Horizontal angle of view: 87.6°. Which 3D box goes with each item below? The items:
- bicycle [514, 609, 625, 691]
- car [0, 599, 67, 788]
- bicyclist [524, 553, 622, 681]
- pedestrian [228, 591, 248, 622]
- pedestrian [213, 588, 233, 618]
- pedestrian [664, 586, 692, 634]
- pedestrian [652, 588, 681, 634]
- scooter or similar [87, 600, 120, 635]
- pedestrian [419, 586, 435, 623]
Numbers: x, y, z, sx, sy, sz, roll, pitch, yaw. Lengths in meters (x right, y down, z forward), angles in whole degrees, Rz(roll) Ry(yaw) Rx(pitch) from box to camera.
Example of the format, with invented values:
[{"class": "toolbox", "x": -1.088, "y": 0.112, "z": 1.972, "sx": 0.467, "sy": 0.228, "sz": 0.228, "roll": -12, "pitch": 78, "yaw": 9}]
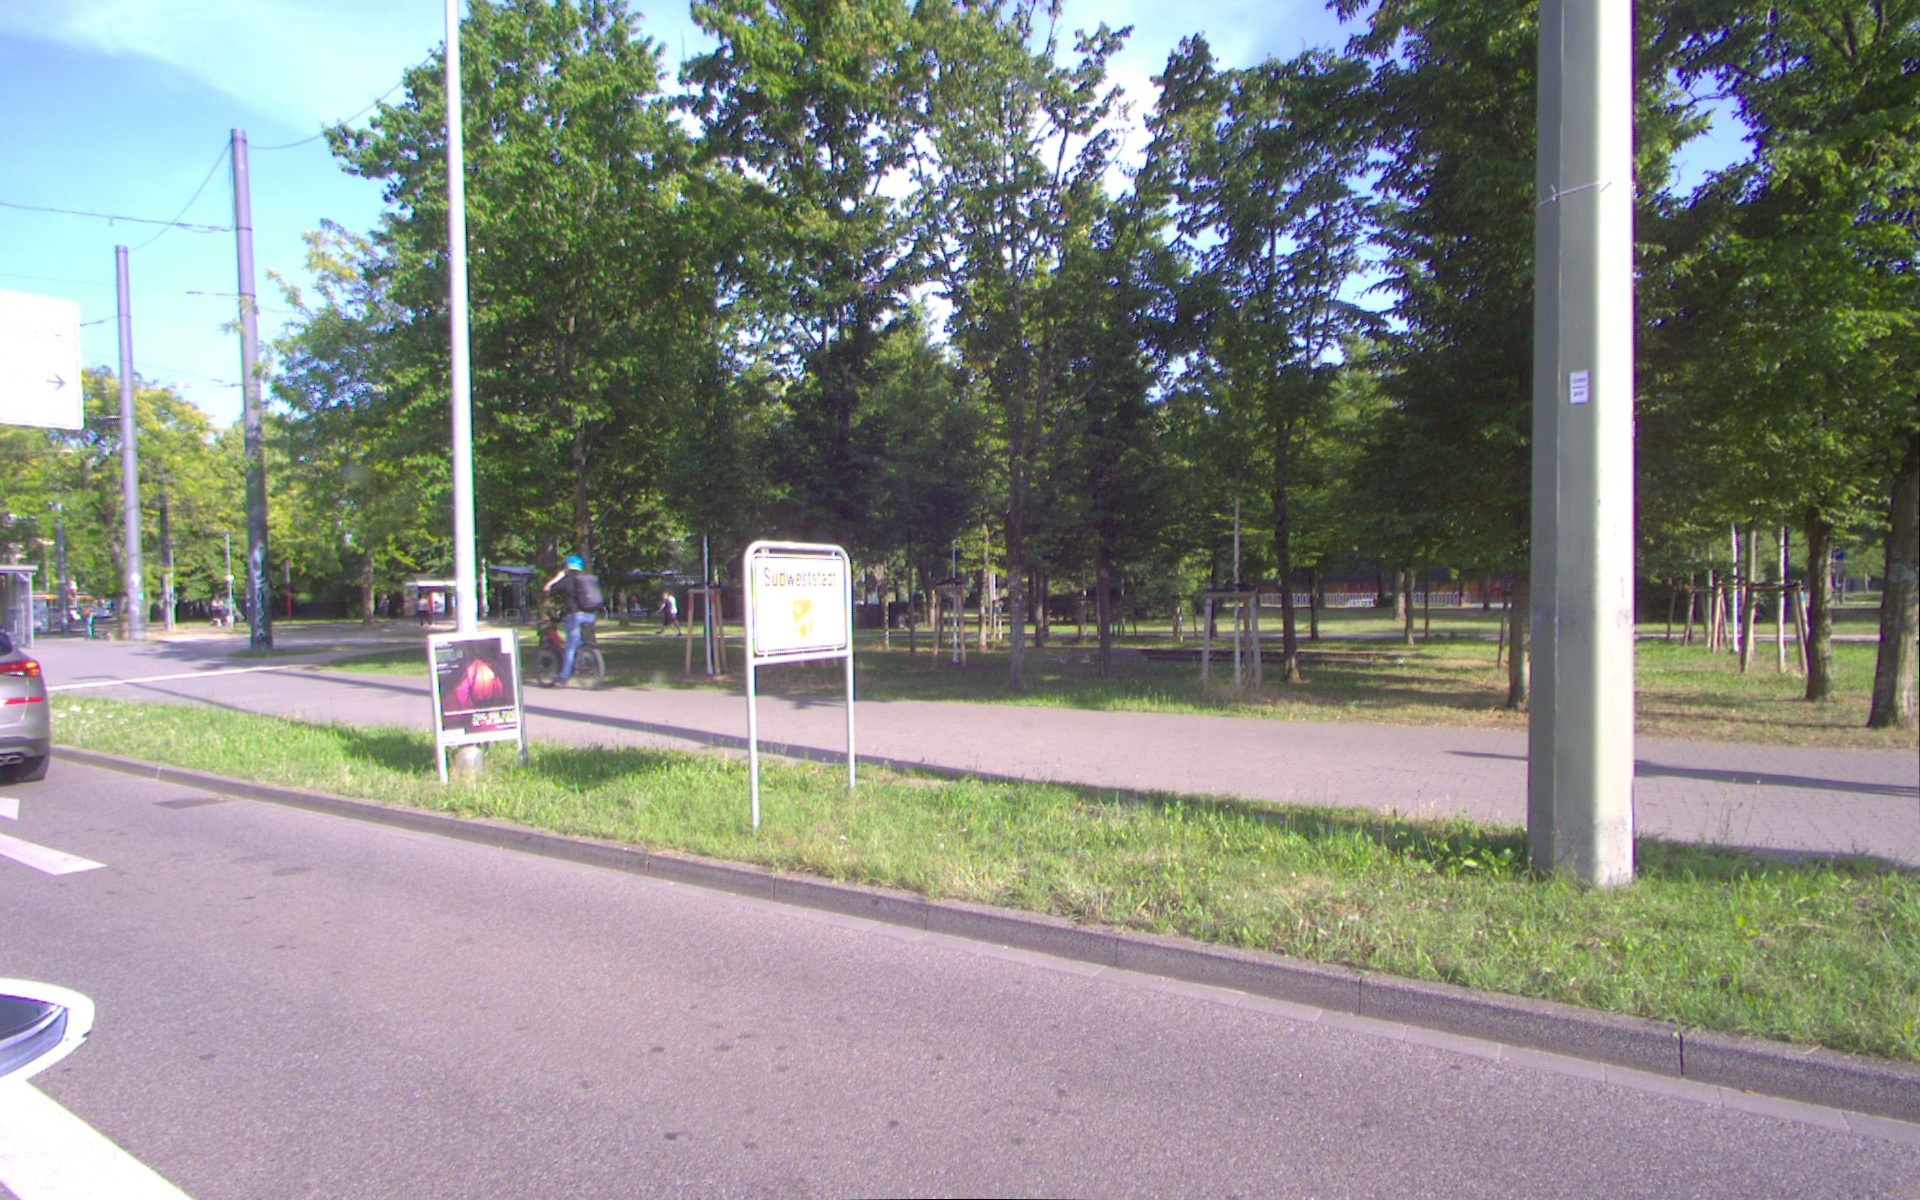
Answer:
[{"class": "bicycle", "x": -5.699, "y": 0.699, "z": 14.568, "sx": 1.711, "sy": 1.103, "sz": 0.638, "roll": 0, "pitch": 3, "yaw": 36}, {"class": "car", "x": -10.059, "y": 0.808, "z": 9.197, "sx": 3.760, "sy": 1.621, "sz": 1.832, "roll": 0, "pitch": -1, "yaw": 32}, {"class": "bicyclist", "x": -5.599, "y": 0.230, "z": 14.489, "sx": 1.125, "sy": 1.770, "sz": 0.717, "roll": 0, "pitch": 4, "yaw": 36}, {"class": "pedestrian", "x": -39.793, "y": 0.349, "z": 55.168, "sx": 0.681, "sy": 1.688, "sz": 0.639, "roll": 0, "pitch": 1, "yaw": 32}, {"class": "pedestrian", "x": -40.907, "y": 0.168, "z": 55.570, "sx": 0.681, "sy": 1.688, "sz": 0.639, "roll": 0, "pitch": 1, "yaw": 32}, {"class": "pedestrian", "x": -11.368, "y": 0.413, "z": 40.418, "sx": 0.868, "sy": 1.922, "sz": 0.670, "roll": 0, "pitch": -1, "yaw": 33}, {"class": "pedestrian", "x": -11.633, "y": 0.437, "z": 39.699, "sx": 0.867, "sy": 1.800, "sz": 0.670, "roll": 0, "pitch": -1, "yaw": 33}, {"class": "scooter or similar", "x": -31.429, "y": 0.635, "z": 36.746, "sx": 1.115, "sy": 1.248, "sz": 0.351, "roll": 0, "pitch": 1, "yaw": 18}, {"class": "pedestrian", "x": -27.542, "y": 0.250, "z": 51.756, "sx": 0.594, "sy": 1.891, "sz": 0.462, "roll": 0, "pitch": -1, "yaw": 5}]
